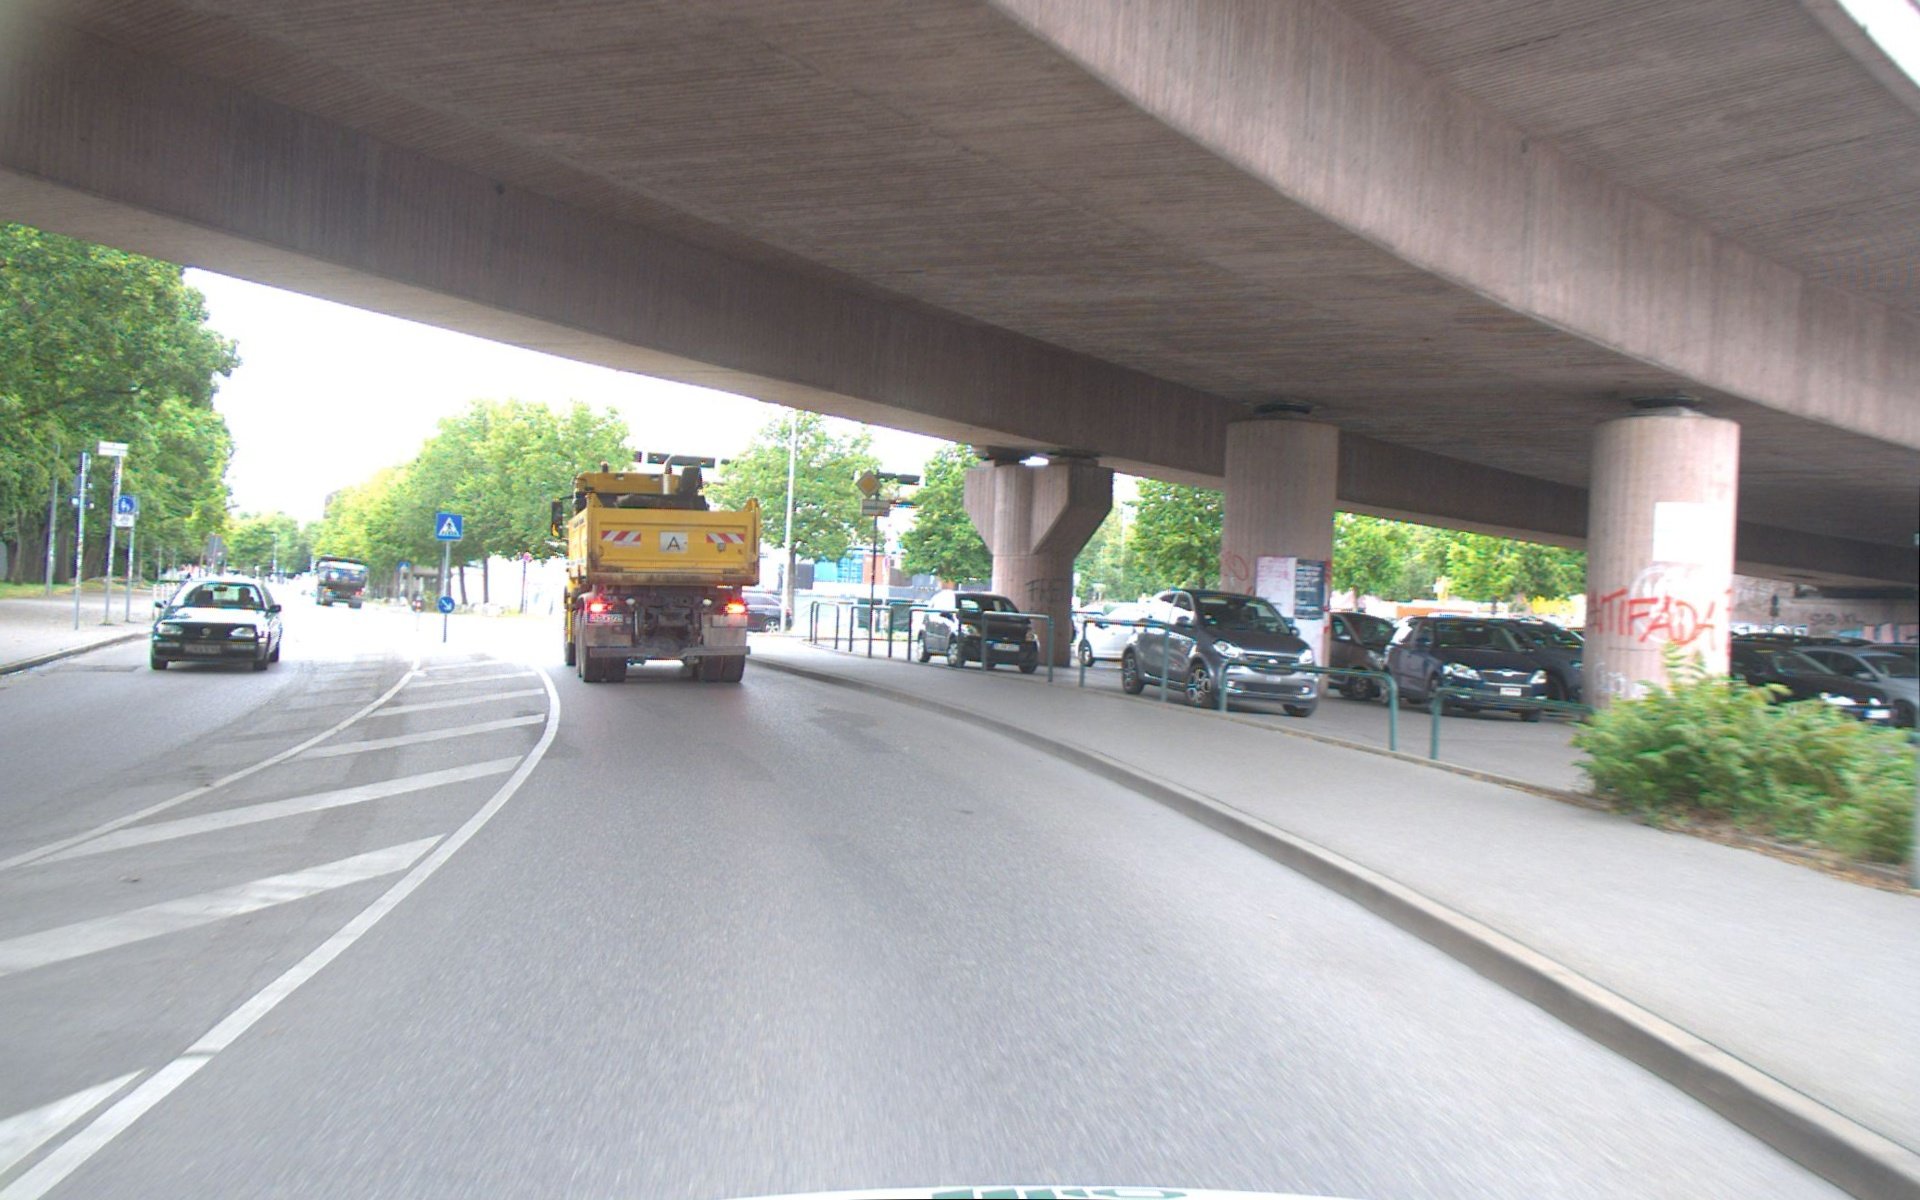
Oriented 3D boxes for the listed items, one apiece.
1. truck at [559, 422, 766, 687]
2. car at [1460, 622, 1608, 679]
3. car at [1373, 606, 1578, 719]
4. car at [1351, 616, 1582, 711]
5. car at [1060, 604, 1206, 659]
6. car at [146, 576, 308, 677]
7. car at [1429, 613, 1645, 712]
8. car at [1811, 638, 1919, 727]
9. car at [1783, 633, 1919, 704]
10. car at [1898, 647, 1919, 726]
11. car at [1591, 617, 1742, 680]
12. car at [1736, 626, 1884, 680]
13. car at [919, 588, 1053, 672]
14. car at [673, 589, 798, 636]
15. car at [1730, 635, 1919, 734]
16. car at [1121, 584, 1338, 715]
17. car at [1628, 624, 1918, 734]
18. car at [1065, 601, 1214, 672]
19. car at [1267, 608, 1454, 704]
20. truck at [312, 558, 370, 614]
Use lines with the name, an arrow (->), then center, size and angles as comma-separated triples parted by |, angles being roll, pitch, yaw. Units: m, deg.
truck -> -5.172, -0.620, 27.587 | 2.713, 3.763, 7.847 | 0, 0, -15
car -> 16.662, 1.448, 48.146 | 1.736, 1.459, 3.819 | 2, 0, -32
car -> 7.884, 0.945, 25.683 | 1.750, 1.533, 3.856 | 3, -2, -3
car -> 9.395, 1.144, 31.068 | 1.807, 1.495, 4.351 | 4, -1, -22
car -> 5.164, 0.945, 49.216 | 4.186, 1.445, 1.496 | 3, 1, -29
car -> -11.720, 0.388, 26.689 | 1.648, 1.455, 3.985 | 2, 0, -14
car -> 11.245, 1.191, 32.473 | 1.810, 1.728, 3.830 | 2, 0, -26
car -> 17.720, 1.528, 29.611 | 1.810, 1.491, 4.157 | 2, 0, -26
car -> 21.283, 1.572, 38.255 | 1.653, 1.452, 3.830 | 2, 0, -26
car -> 19.945, 1.730, 30.672 | 1.810, 1.491, 4.157 | 2, 0, -26
car -> 21.020, 1.424, 49.303 | 1.736, 1.667, 3.819 | 2, 0, -32
car -> 26.918, 1.672, 52.476 | 1.736, 1.504, 3.819 | 2, 0, -32
car -> 0.435, 0.540, 32.015 | 1.580, 1.421, 3.564 | 4, -1, -16
car -> -8.500, 0.481, 62.475 | 4.459, 1.602, 1.838 | 2, 0, -15
car -> 15.761, 1.440, 28.688 | 1.810, 1.491, 4.157 | 2, 0, -26
car -> 3.584, 0.617, 22.545 | 1.580, 1.560, 3.396 | 4, -1, -16
car -> 13.588, 1.285, 27.914 | 1.810, 1.577, 4.157 | 2, 0, -26
car -> 4.364, 0.875, 40.763 | 1.616, 1.579, 3.973 | 2, 0, -29
car -> 7.282, 0.992, 30.345 | 1.507, 1.526, 3.347 | 5, -1, -26
truck -> -41.637, -0.888, 111.115 | 2.643, 3.621, 7.848 | 0, -1, -28
